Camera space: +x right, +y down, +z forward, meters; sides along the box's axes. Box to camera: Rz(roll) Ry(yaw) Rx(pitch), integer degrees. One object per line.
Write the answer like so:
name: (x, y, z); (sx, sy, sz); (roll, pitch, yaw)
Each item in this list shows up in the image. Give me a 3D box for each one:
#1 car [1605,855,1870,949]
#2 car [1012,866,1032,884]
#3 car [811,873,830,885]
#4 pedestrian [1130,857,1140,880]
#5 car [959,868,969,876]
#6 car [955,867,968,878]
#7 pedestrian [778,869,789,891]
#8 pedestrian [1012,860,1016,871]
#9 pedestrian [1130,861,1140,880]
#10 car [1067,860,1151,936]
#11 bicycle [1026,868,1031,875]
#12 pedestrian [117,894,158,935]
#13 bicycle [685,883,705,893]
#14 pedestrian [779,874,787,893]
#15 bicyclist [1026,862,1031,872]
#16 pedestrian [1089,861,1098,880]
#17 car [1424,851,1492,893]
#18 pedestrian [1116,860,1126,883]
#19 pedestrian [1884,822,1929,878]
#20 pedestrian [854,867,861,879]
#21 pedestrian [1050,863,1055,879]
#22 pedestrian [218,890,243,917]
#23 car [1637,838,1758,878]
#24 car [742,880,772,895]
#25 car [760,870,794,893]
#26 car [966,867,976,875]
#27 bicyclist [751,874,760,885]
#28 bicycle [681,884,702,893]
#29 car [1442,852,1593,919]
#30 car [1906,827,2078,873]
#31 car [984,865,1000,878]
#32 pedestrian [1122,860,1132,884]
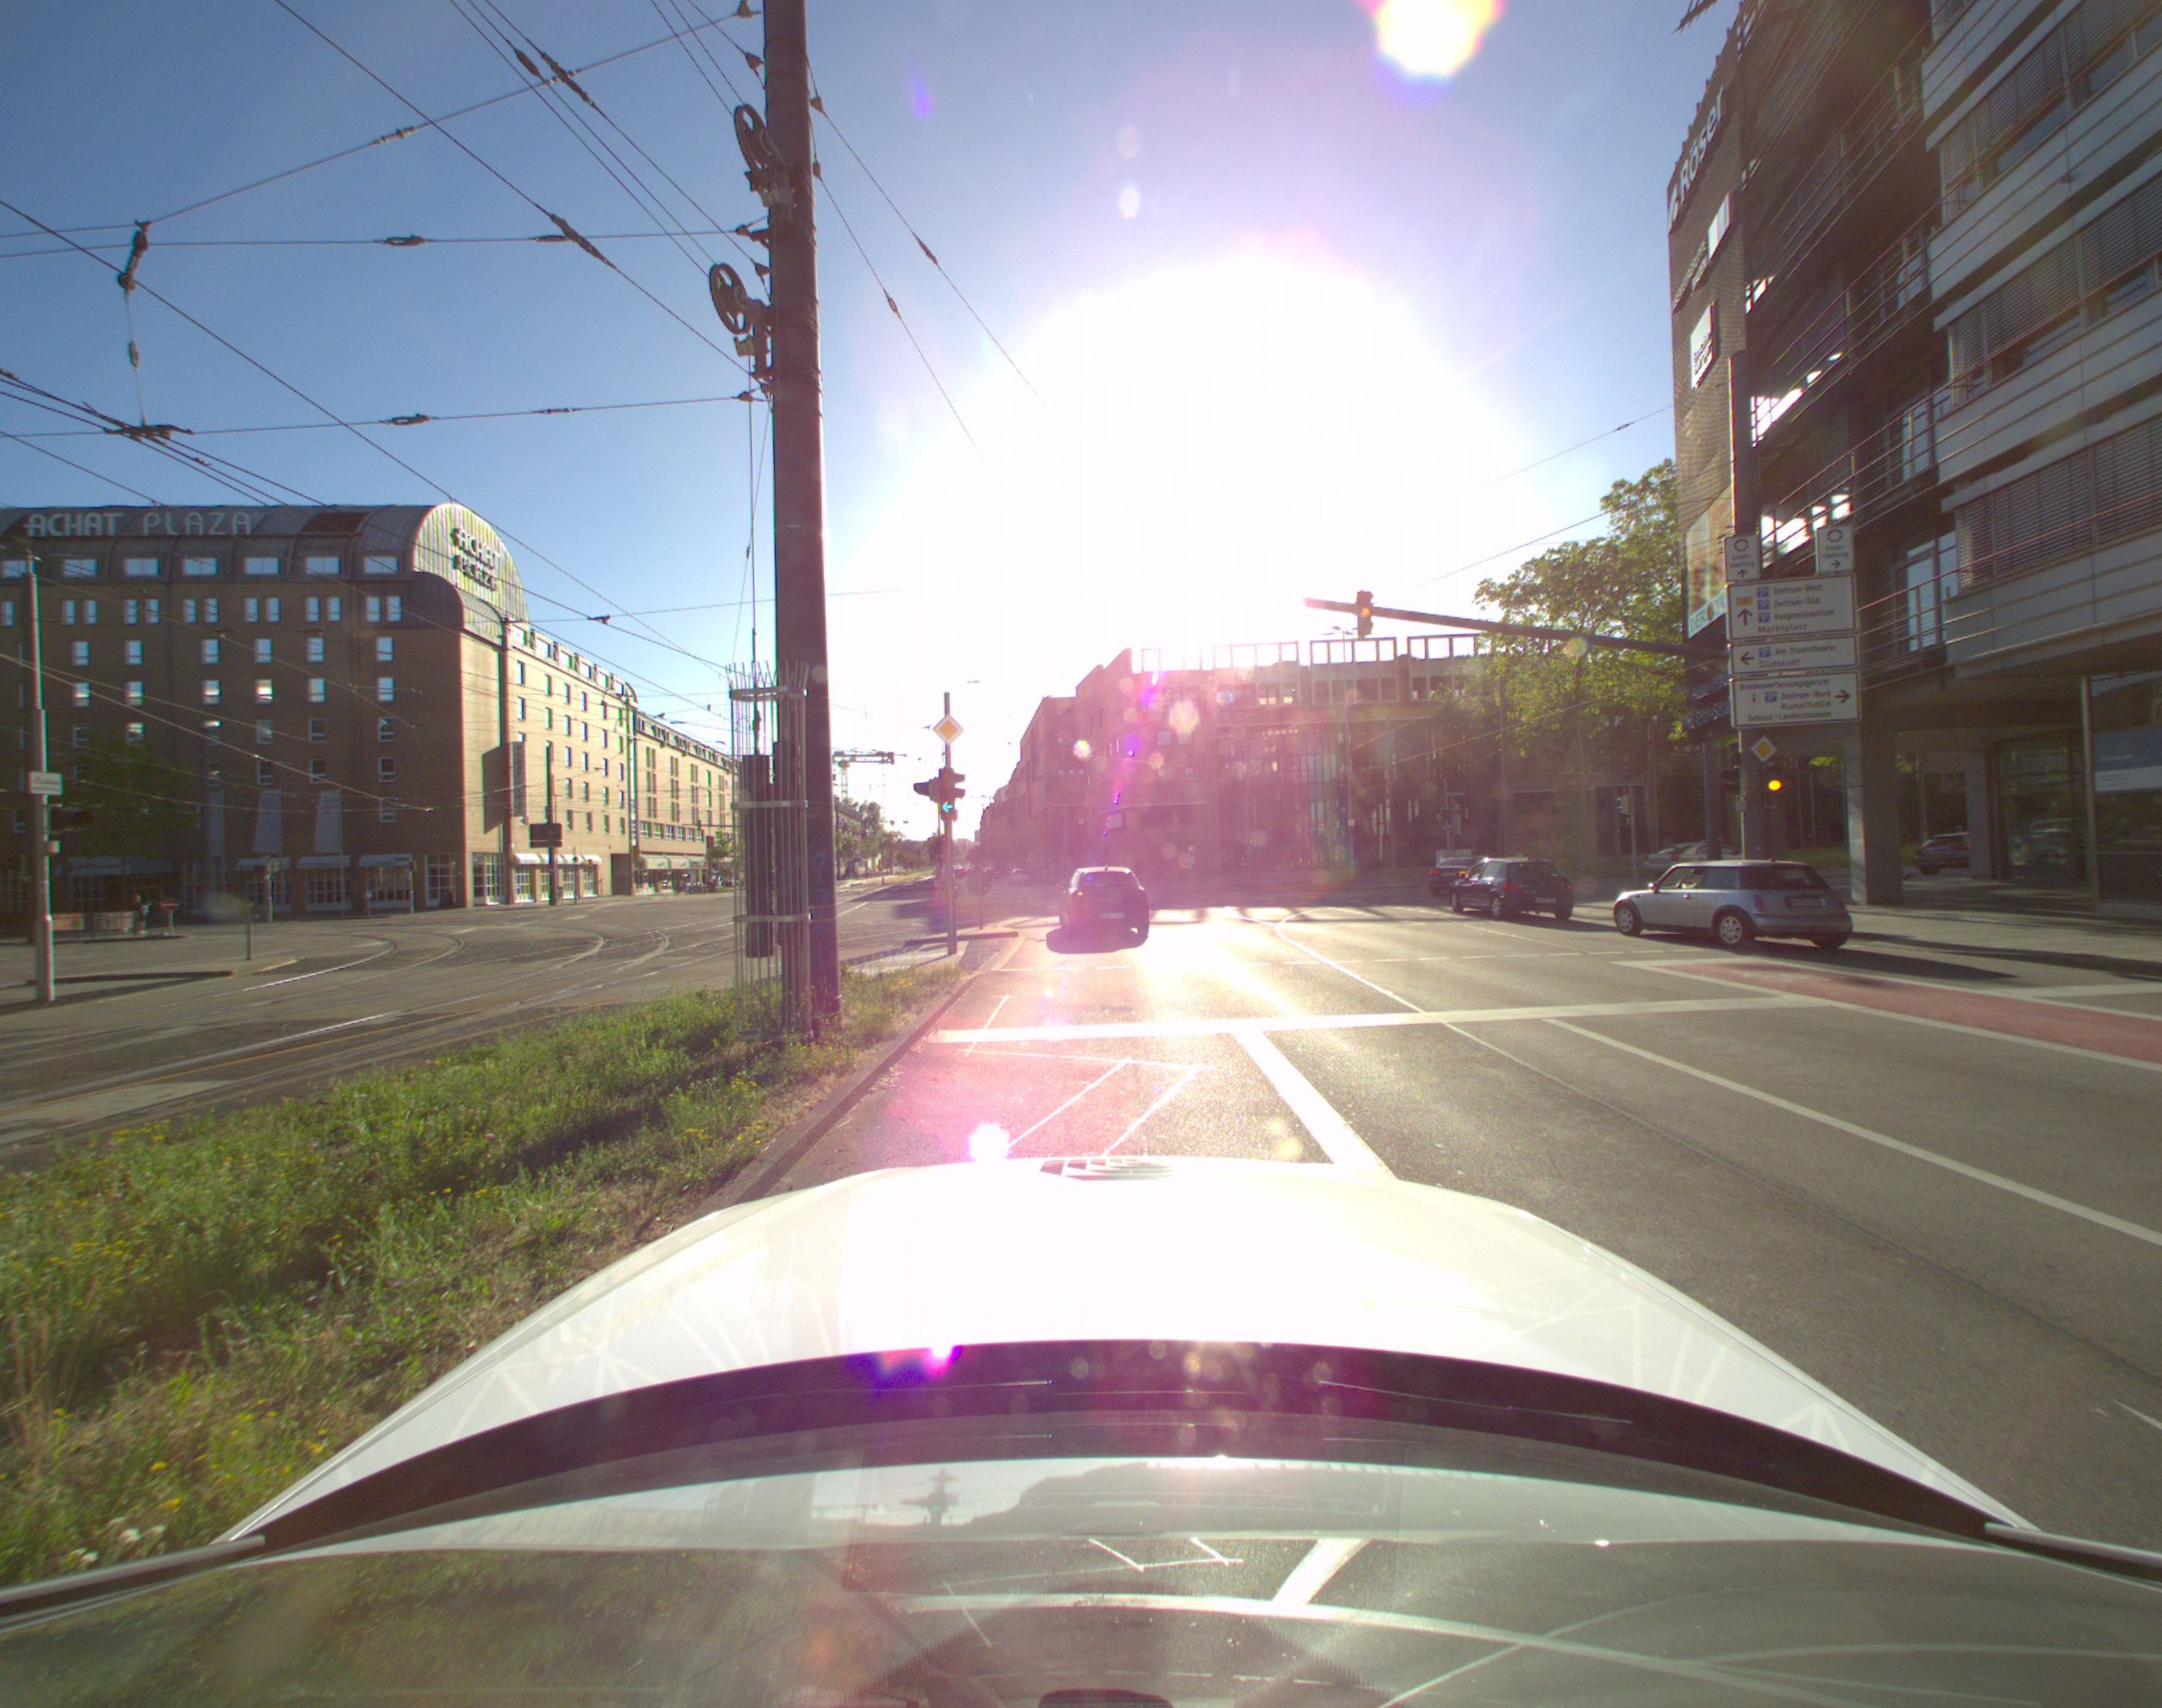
car: (10.971, 0.748, 13.961); (1.656, 1.389, 3.535); (-1, -1, -1)
car: (-5.118, 1.754, 70.415); (1.558, 1.456, 3.424); (-2, -1, -6)
car: (-35.626, 3.453, 111.549); (1.839, 1.448, 4.283); (-4, 0, -10)
pedestrian: (4.360, 1.135, 65.268); (0.573, 1.786, 0.546); (-2, -1, -17)
car: (-22.160, 3.421, 154.278); (1.720, 1.453, 3.686); (-3, -1, -9)
car: (-17.553, 2.679, 119.553); (1.720, 1.453, 3.686); (-3, -1, -9)
pedestrian: (-24.043, 2.116, 65.813); (0.720, 1.727, 0.593); (-2, -1, -8)
pedestrian: (-10.918, 1.828, 132.958); (0.639, 1.786, 0.687); (-3, -1, -6)
pedestrian: (4.392, 1.340, 66.189); (0.550, 1.477, 0.568); (-2, 0, -27)
car: (0.632, 0.906, 18.248); (1.665, 1.502, 3.692); (-1, 0, 2)
bicycle: (-7.513, 2.484, 116.556); (0.648, 0.904, 2.339); (-2, -1, -7)
pedestrian: (-40.808, 2.620, 35.229); (0.713, 1.680, 0.829); (-2, 1, -7)
bicycle: (-42.882, 3.770, 90.500); (2.026, 0.921, 0.483); (-3, -1, 1)
pedestrian: (-24.820, 2.431, 67.849); (0.583, 1.577, 0.642); (-2, -1, -22)
bicyclist: (-7.542, 1.883, 116.593); (0.645, 1.339, 0.651); (-2, -1, -8)
pedestrian: (1.195, 1.528, 76.862); (0.639, 1.786, 0.687); (-3, -1, -6)
car: (13.998, 0.643, 30.113); (1.678, 1.440, 4.044); (-2, -1, 33)
pedestrian: (3.125, 1.408, 64.186); (0.573, 1.786, 0.546); (-2, -1, -17)
pedestrian: (26.156, -0.127, 25.814); (0.786, 1.734, 0.588); (0, -1, 10)
pedestrian: (-30.779, 2.630, 111.993); (0.863, 1.670, 0.779); (-1, 0, -19)
pedestrian: (-3.300, 1.927, 93.673); (0.547, 1.786, 0.572); (-2, 2, -6)
pedestrian: (-55.204, 3.222, 52.865); (0.750, 1.666, 0.739); (-2, 0, -7)
car: (25.363, 0.172, 33.559); (3.969, 1.475, 1.695); (-2, -1, -10)
car: (-31.799, 3.254, 80.024); (1.840, 1.268, 4.214); (-4, 0, -11)
car: (-27.892, 2.503, 74.759); (1.837, 1.836, 4.098); (-4, 0, -6)
car: (-19.177, 2.956, 141.894); (1.720, 1.453, 3.686); (-3, -1, -9)
bicyclist: (-40.506, 3.149, 101.341); (0.810, 1.377, 0.922); (-2, -1, -10)
bicycle: (-42.623, 3.769, 89.134); (2.026, 0.845, 0.483); (-3, -1, 1)
car: (10.980, 0.745, 20.845); (1.853, 1.475, 3.980); (-2, 0, 3)
car: (32.547, -0.139, 29.199); (3.948, 1.475, 1.869); (-2, -1, 3)
car: (-10.804, 2.097, 98.963); (1.670, 1.453, 3.686); (-3, -1, -9)
pedestrian: (3.580, 1.401, 63.502); (0.573, 1.786, 0.546); (-2, -1, -17)
